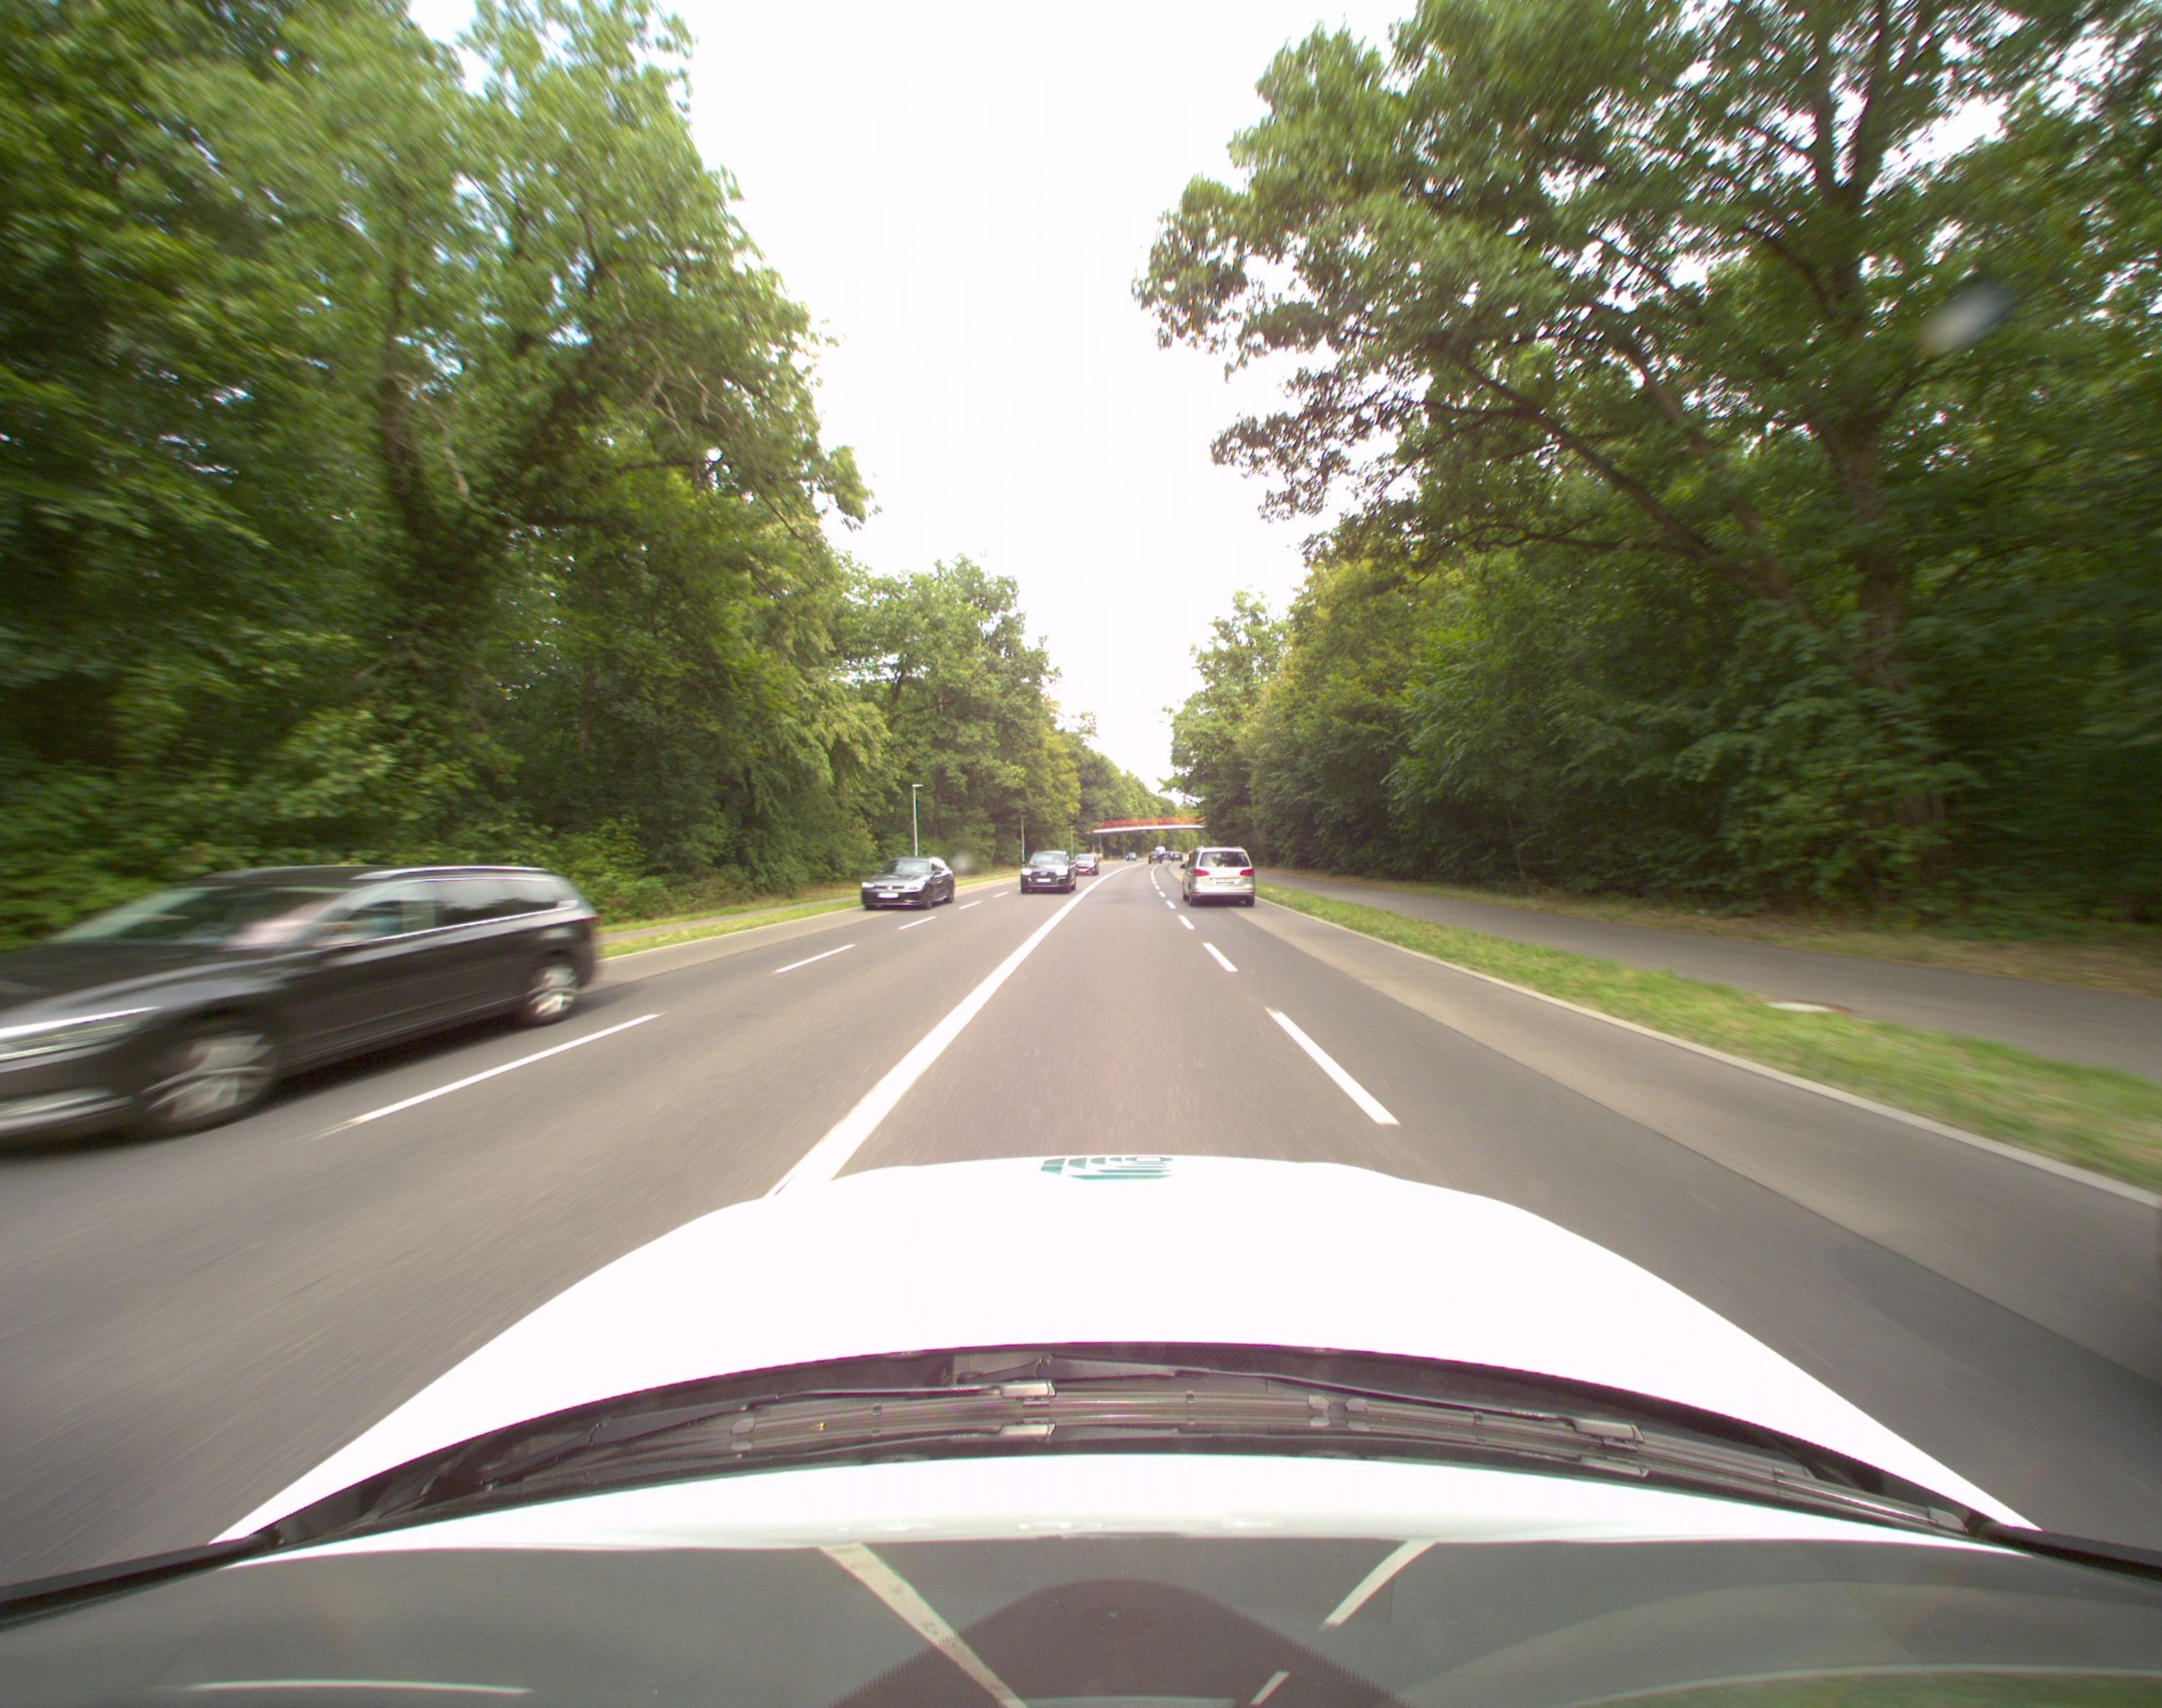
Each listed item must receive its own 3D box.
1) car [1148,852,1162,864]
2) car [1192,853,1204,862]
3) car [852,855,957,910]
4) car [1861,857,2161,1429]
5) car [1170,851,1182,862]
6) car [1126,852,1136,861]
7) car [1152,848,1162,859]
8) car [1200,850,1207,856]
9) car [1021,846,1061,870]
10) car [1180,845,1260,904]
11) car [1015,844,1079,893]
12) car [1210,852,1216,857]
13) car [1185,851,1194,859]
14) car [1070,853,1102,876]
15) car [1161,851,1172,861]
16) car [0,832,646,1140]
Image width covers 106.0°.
[{"bbox_3d":[10.302,0.559,113.191,1.720,1.587,4.008,1,-1,8],"label":"car"},{"bbox_3d":[23.203,0.761,161.713,1.797,1.667,4.001,1,-1,2],"label":"car"},{"bbox_3d":[-4.949,0.752,23.493,1.807,1.420,4.522,0,0,3],"label":"car"},{"bbox_3d":[3.481,0.712,0.820,1.629,1.420,4.000,1,-1,1],"label":"car"},{"bbox_3d":[16.039,0.485,136.992,1.983,1.750,4.007,1,-1,6],"label":"car"},{"bbox_3d":[9.107,0.491,148.696,1.734,1.596,4.001,1,-1,2],"label":"car"},{"bbox_3d":[19.357,-0.164,207.013,2.086,2.754,4.360,1,-1,12],"label":"car"},{"bbox_3d":[34.247,-0.372,227.705,1.794,1.667,4.007,1,-1,7],"label":"car"},{"bbox_3d":[-2.680,0.277,55.326,1.983,1.552,4.007,1,-1,7],"label":"car"},{"bbox_3d":[4.075,0.592,24.474,1.984,1.607,4.004,1,-1,4],"label":"car"},{"bbox_3d":[-1.265,0.552,32.101,1.954,1.706,4.004,-4,-1,4],"label":"car"},{"bbox_3d":[42.068,0.152,259.753,1.792,1.667,4.012,1,-1,11],"label":"car"},{"bbox_3d":[25.907,0.228,194.438,1.796,1.667,4.003,1,-1,3],"label":"car"},{"bbox_3d":[0.368,0.707,55.538,1.689,1.386,3.834,-4,-1,6],"label":"car"},{"bbox_3d":[16.110,0.423,153.724,1.983,1.697,4.008,1,-1,7],"label":"car"},{"bbox_3d":[-5.688,0.709,6.425,1.877,1.558,4.522,0,-1,3],"label":"car"}]
